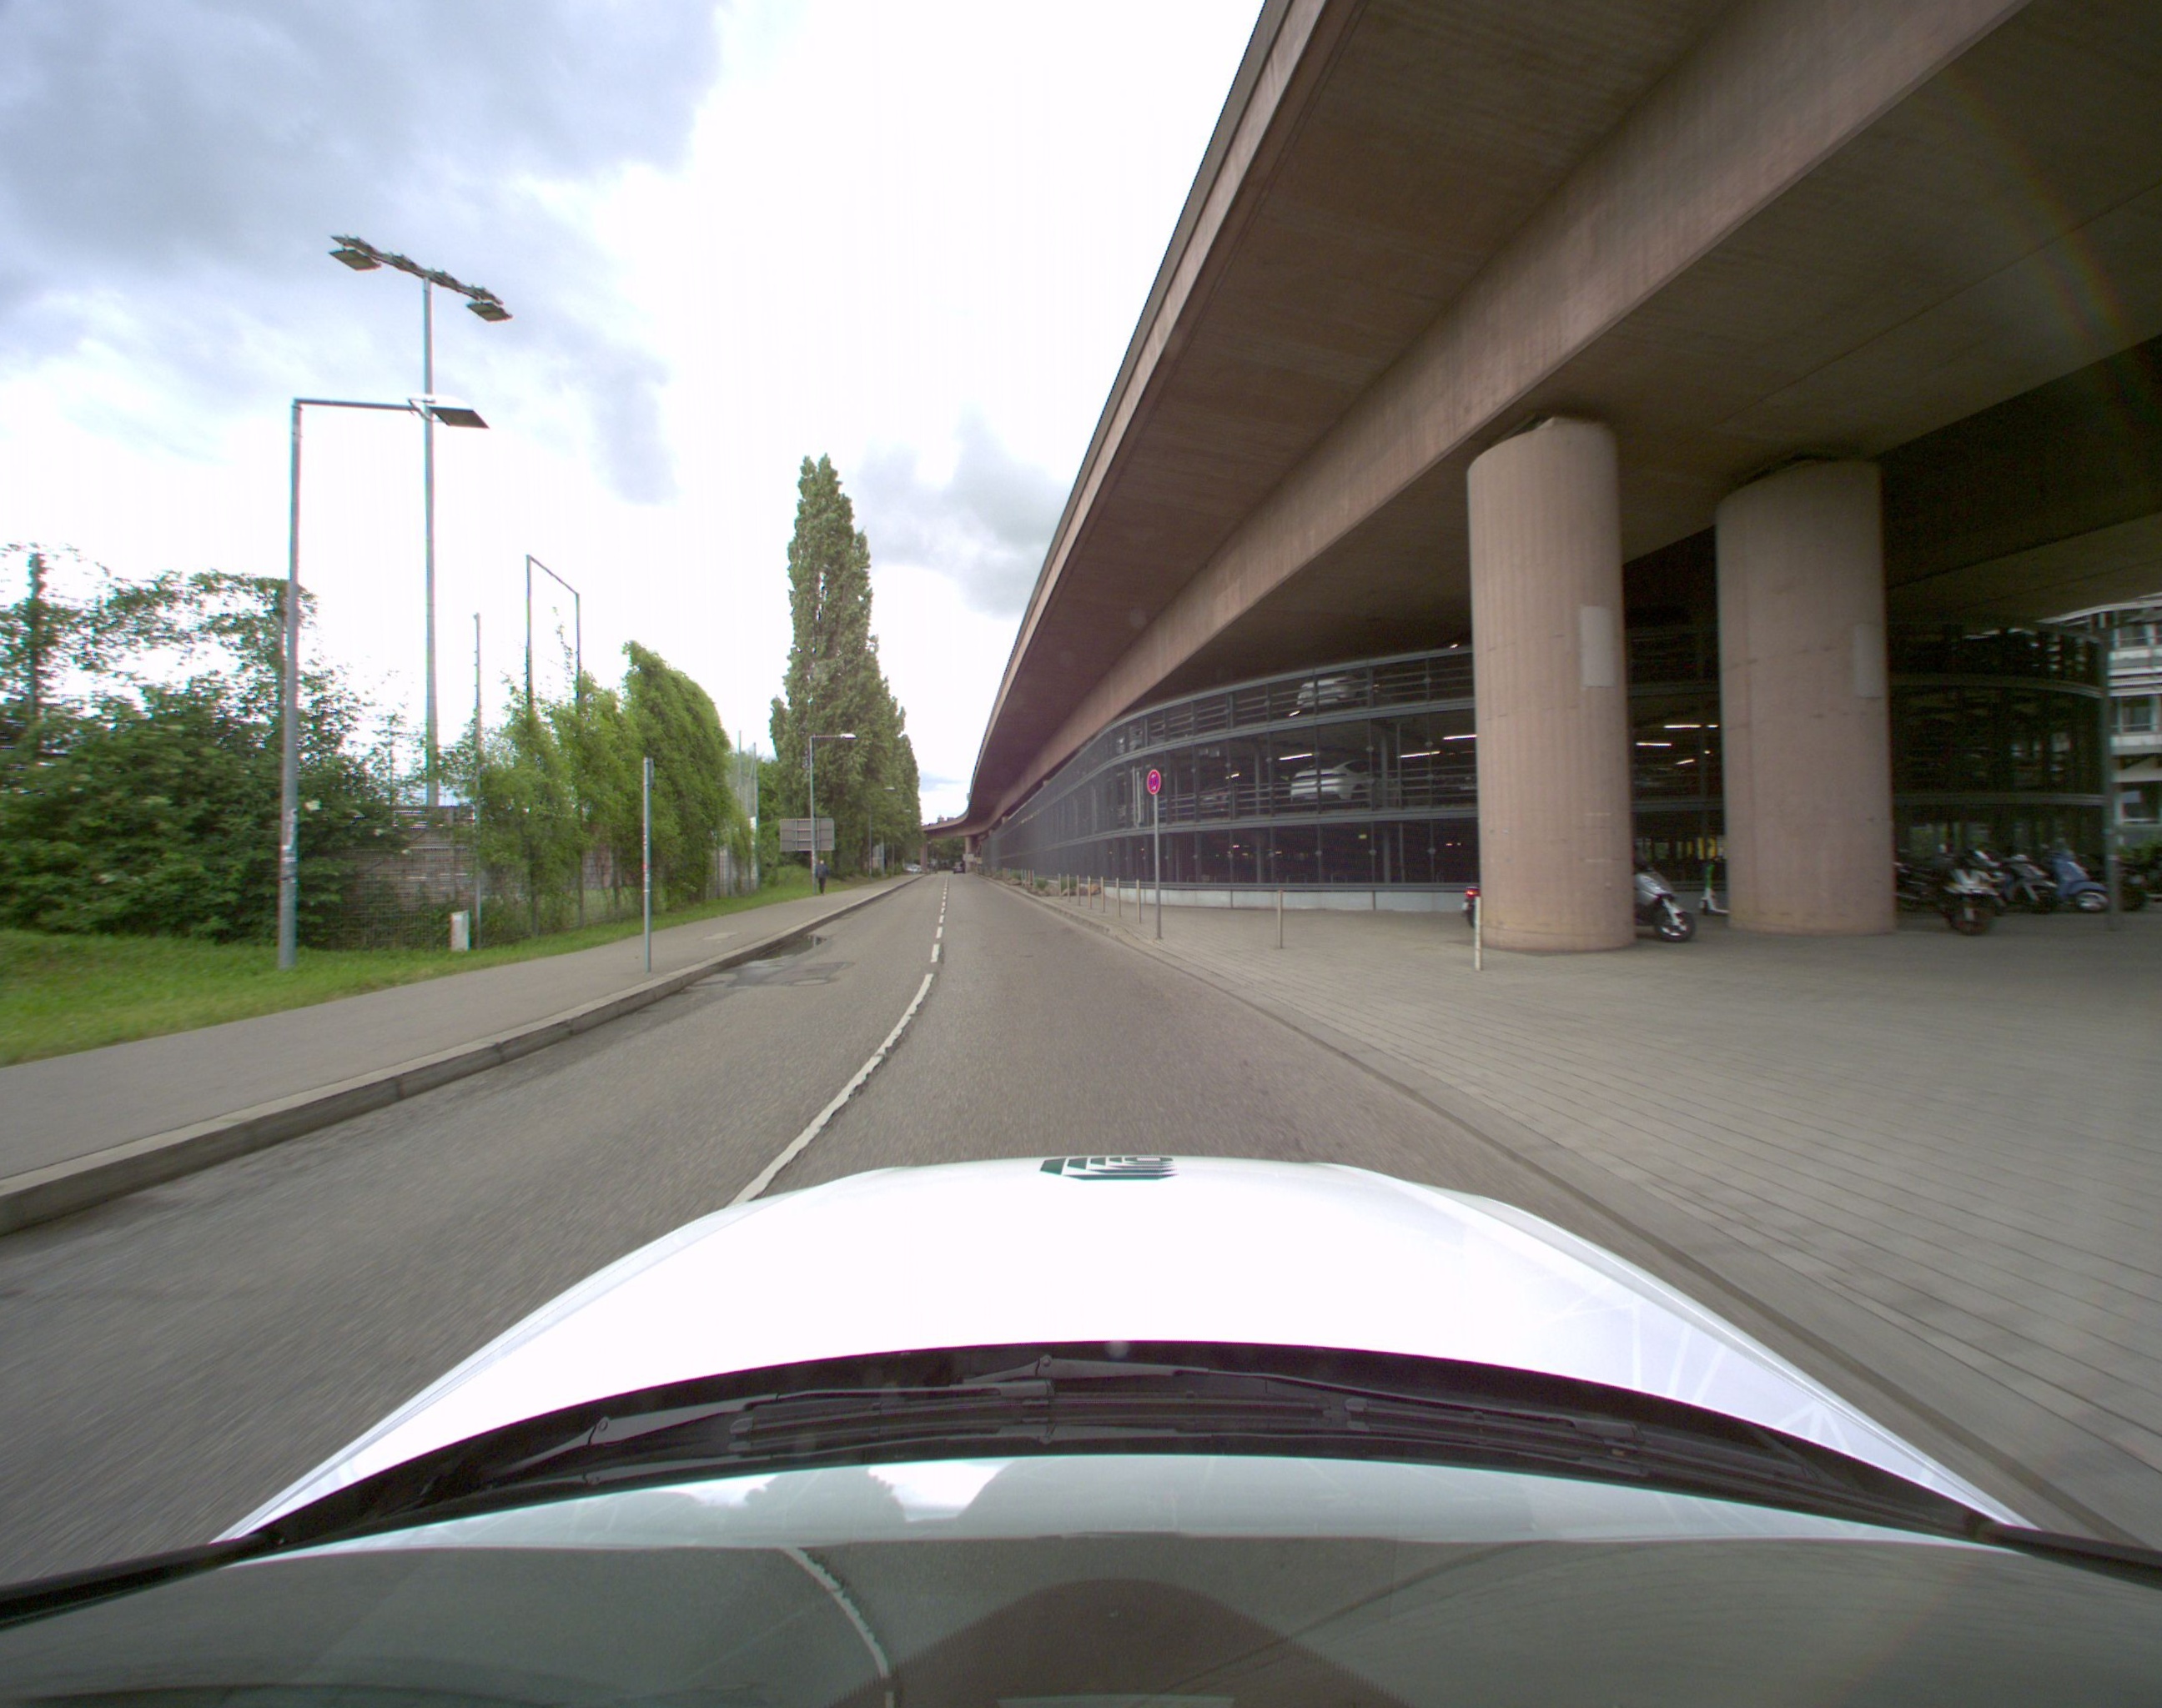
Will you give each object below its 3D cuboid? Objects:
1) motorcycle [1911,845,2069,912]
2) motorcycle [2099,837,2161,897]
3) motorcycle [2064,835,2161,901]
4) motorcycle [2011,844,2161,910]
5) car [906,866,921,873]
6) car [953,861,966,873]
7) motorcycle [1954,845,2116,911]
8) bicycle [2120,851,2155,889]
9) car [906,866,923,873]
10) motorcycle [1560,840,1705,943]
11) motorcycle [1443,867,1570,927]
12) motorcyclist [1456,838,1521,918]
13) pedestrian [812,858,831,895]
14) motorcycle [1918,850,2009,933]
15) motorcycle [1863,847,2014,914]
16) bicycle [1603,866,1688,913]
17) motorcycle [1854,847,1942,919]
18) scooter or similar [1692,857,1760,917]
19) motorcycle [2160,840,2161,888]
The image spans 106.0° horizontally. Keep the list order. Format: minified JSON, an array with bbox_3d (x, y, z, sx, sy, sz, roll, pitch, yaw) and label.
[{"bbox_3d":[18.058,0.445,16.257,0.671,1.220,2.073,-2,1,-8],"label":"motorcycle"},{"bbox_3d":[22.482,0.263,16.625,0.672,1.220,2.072,-2,1,-9],"label":"motorcycle"},{"bbox_3d":[21.601,0.276,16.522,0.671,1.286,2.073,-2,1,-8],"label":"motorcycle"},{"bbox_3d":[20.317,0.415,16.395,0.671,1.220,2.073,-2,1,-8],"label":"motorcycle"},{"bbox_3d":[-45.433,4.155,220.987,1.703,1.716,3.696,-1,1,32],"label":"car"},{"bbox_3d":[-19.061,2.011,127.569,1.839,1.711,3.694,-2,1,-9],"label":"car"},{"bbox_3d":[19.119,0.440,16.402,0.671,1.220,2.073,-2,1,-8],"label":"motorcycle"},{"bbox_3d":[27.350,0.405,21.078,1.512,0.895,0.470,-2,1,-35],"label":"bicycle"},{"bbox_3d":[-44.457,4.167,217.277,1.861,1.716,4.180,-1,1,32],"label":"car"},{"bbox_3d":[8.435,0.527,12.547,0.645,1.455,1.748,-2,1,-25],"label":"motorcycle"},{"bbox_3d":[7.866,0.784,15.118,1.939,1.022,0.750,-2,1,8],"label":"motorcycle"},{"bbox_3d":[7.556,0.435,15.148,0.862,1.419,0.766,-2,1,8],"label":"motorcyclist"},{"bbox_3d":[-13.040,1.108,40.980,0.805,1.780,0.916,-2,1,-15],"label":"pedestrian"},{"bbox_3d":[13.115,0.549,12.135,0.515,1.171,1.157,-1,-2,27],"label":"motorcycle"},{"bbox_3d":[17.067,0.479,16.290,0.671,1.220,2.073,-2,1,-8],"label":"motorcycle"},{"bbox_3d":[12.378,0.783,17.879,1.461,0.976,0.454,-1,1,16],"label":"bicycle"},{"bbox_3d":[14.631,0.503,14.616,0.517,1.220,1.153,-2,1,9],"label":"motorcycle"},{"bbox_3d":[13.017,0.641,16.478,0.397,1.134,1.251,-2,1,2],"label":"scooter or similar"},{"bbox_3d":[27.875,0.251,19.536,0.671,1.220,2.357,-2,1,-8],"label":"motorcycle"}]
